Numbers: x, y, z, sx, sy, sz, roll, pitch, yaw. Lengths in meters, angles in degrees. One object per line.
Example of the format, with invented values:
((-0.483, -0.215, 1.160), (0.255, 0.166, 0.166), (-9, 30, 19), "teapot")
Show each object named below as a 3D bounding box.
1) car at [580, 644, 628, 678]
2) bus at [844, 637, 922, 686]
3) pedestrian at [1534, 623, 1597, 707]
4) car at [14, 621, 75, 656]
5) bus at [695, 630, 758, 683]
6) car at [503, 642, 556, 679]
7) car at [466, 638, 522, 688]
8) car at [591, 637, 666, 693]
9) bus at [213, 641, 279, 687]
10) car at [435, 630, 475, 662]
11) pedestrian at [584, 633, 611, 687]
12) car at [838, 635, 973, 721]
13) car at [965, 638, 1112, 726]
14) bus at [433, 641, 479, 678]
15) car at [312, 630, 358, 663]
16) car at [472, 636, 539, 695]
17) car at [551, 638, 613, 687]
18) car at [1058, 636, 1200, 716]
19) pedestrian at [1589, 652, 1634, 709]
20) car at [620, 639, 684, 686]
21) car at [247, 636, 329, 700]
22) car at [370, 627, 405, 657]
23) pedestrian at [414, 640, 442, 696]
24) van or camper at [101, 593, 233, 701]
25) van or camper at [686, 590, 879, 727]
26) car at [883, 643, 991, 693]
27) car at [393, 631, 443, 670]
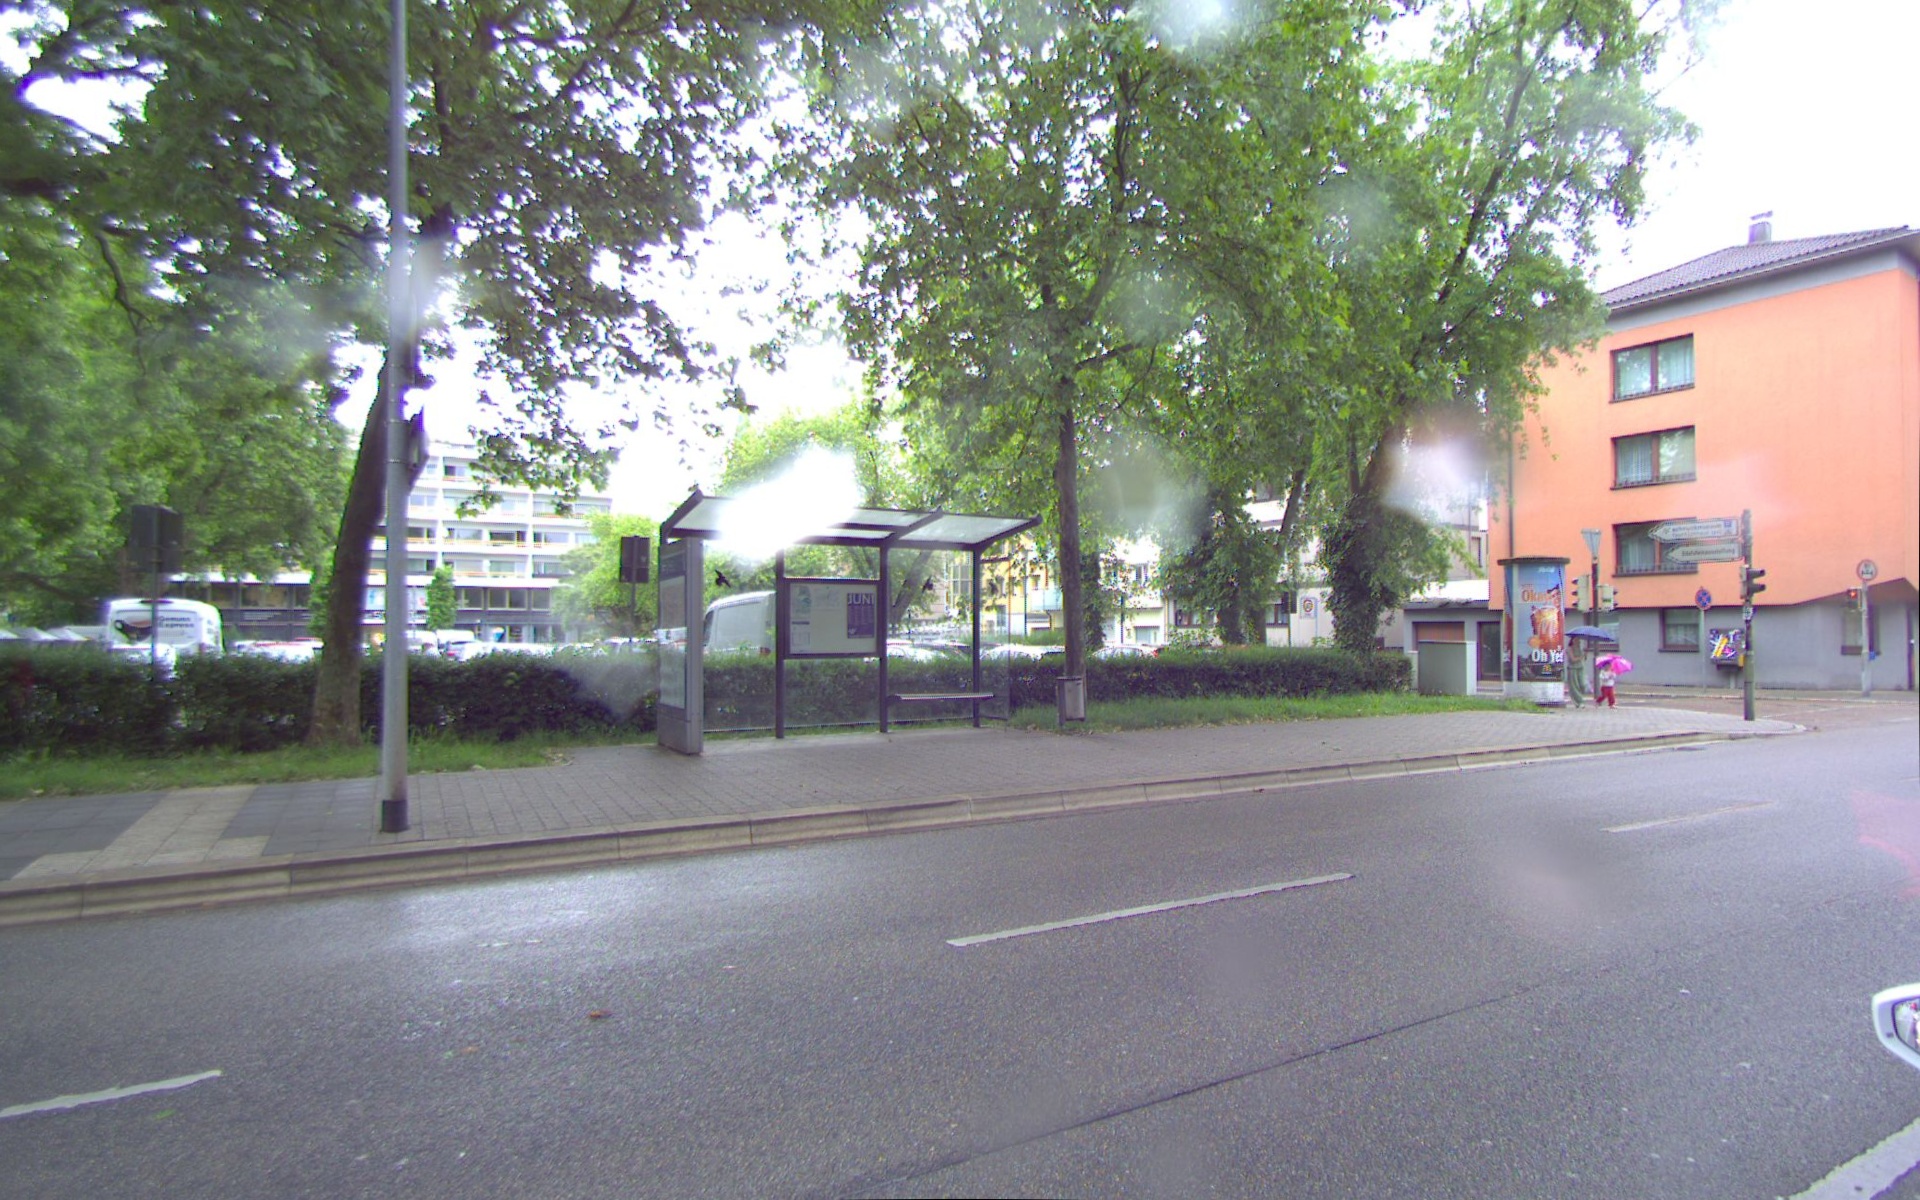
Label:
((-15.194, 2.578, 42.825), (1.332, 1.401, 3.141), (2, -3, -30), "car")
((-2.441, 1.899, 31.513), (1.364, 1.451, 2.777), (2, -3, -30), "bus")
((13.439, 1.405, 22.322), (0.976, 1.765, 1.209), (1, 0, 22), "pedestrian")
((-40.933, 1.692, 44.969), (1.412, 1.447, 2.941), (1, 0, -30), "car")
((-7.827, 1.863, 33.519), (1.363, 1.698, 2.779), (1, -3, -28), "bus")
((-17.693, 2.453, 41.233), (1.587, 1.447, 3.293), (2, -3, -30), "car")
((-14.539, 1.941, 31.276), (1.375, 1.454, 3.248), (1, -3, -29), "car")
((-9.108, 1.747, 27.500), (1.375, 1.454, 3.248), (1, -3, -29), "car")
((-25.546, 2.271, 36.011), (1.587, 1.559, 3.403), (2, -3, -30), "bus")
((-27.202, 2.458, 54.102), (1.622, 1.544, 3.174), (2, 0, -32), "car")
((-8.465, 1.401, 23.449), (0.462, 1.229, 0.434), (2, 0, -37), "pedestrian")
((-1.208, 1.572, 21.183), (1.492, 1.544, 3.174), (2, 0, -32), "car")
((1.587, 1.656, 21.167), (1.492, 1.544, 3.174), (2, 0, -32), "car")
((-22.369, 2.610, 44.566), (1.587, 1.559, 3.403), (2, -3, -30), "bus")
((-31.419, 2.313, 50.579), (1.818, 1.444, 3.799), (2, 0, -31), "car")
((-12.087, 1.709, 26.644), (1.375, 1.454, 3.248), (1, -3, -29), "car")
((-11.955, 1.954, 31.676), (1.375, 1.454, 3.248), (1, -3, -29), "car")
((3.808, 1.681, 23.037), (1.492, 1.544, 3.174), (2, 0, -32), "car")
((14.543, 1.773, 22.430), (0.673, 1.190, 0.826), (1, 0, 22), "pedestrian")
((-9.990, 1.991, 32.469), (1.375, 1.454, 3.248), (1, -3, -29), "car")
((-16.508, 1.648, 24.785), (1.375, 1.454, 3.248), (1, -3, -29), "car")
((-33.041, 2.401, 57.910), (1.622, 1.544, 3.174), (1, 1, -32), "car")
((-11.894, 1.510, 22.449), (0.462, 1.229, 0.434), (2, 0, -37), "pedestrian")
((-20.695, 1.234, 26.417), (2.074, 2.570, 4.391), (1, -3, -30), "van or camper")
((-3.426, 1.055, 18.689), (2.026, 2.198, 4.458), (2, -3, -32), "van or camper")
((-0.830, 2.224, 33.514), (1.799, 1.536, 3.965), (2, -3, -33), "car")
((-20.898, 1.945, 38.683), (1.587, 1.447, 3.293), (2, -3, -30), "car")
